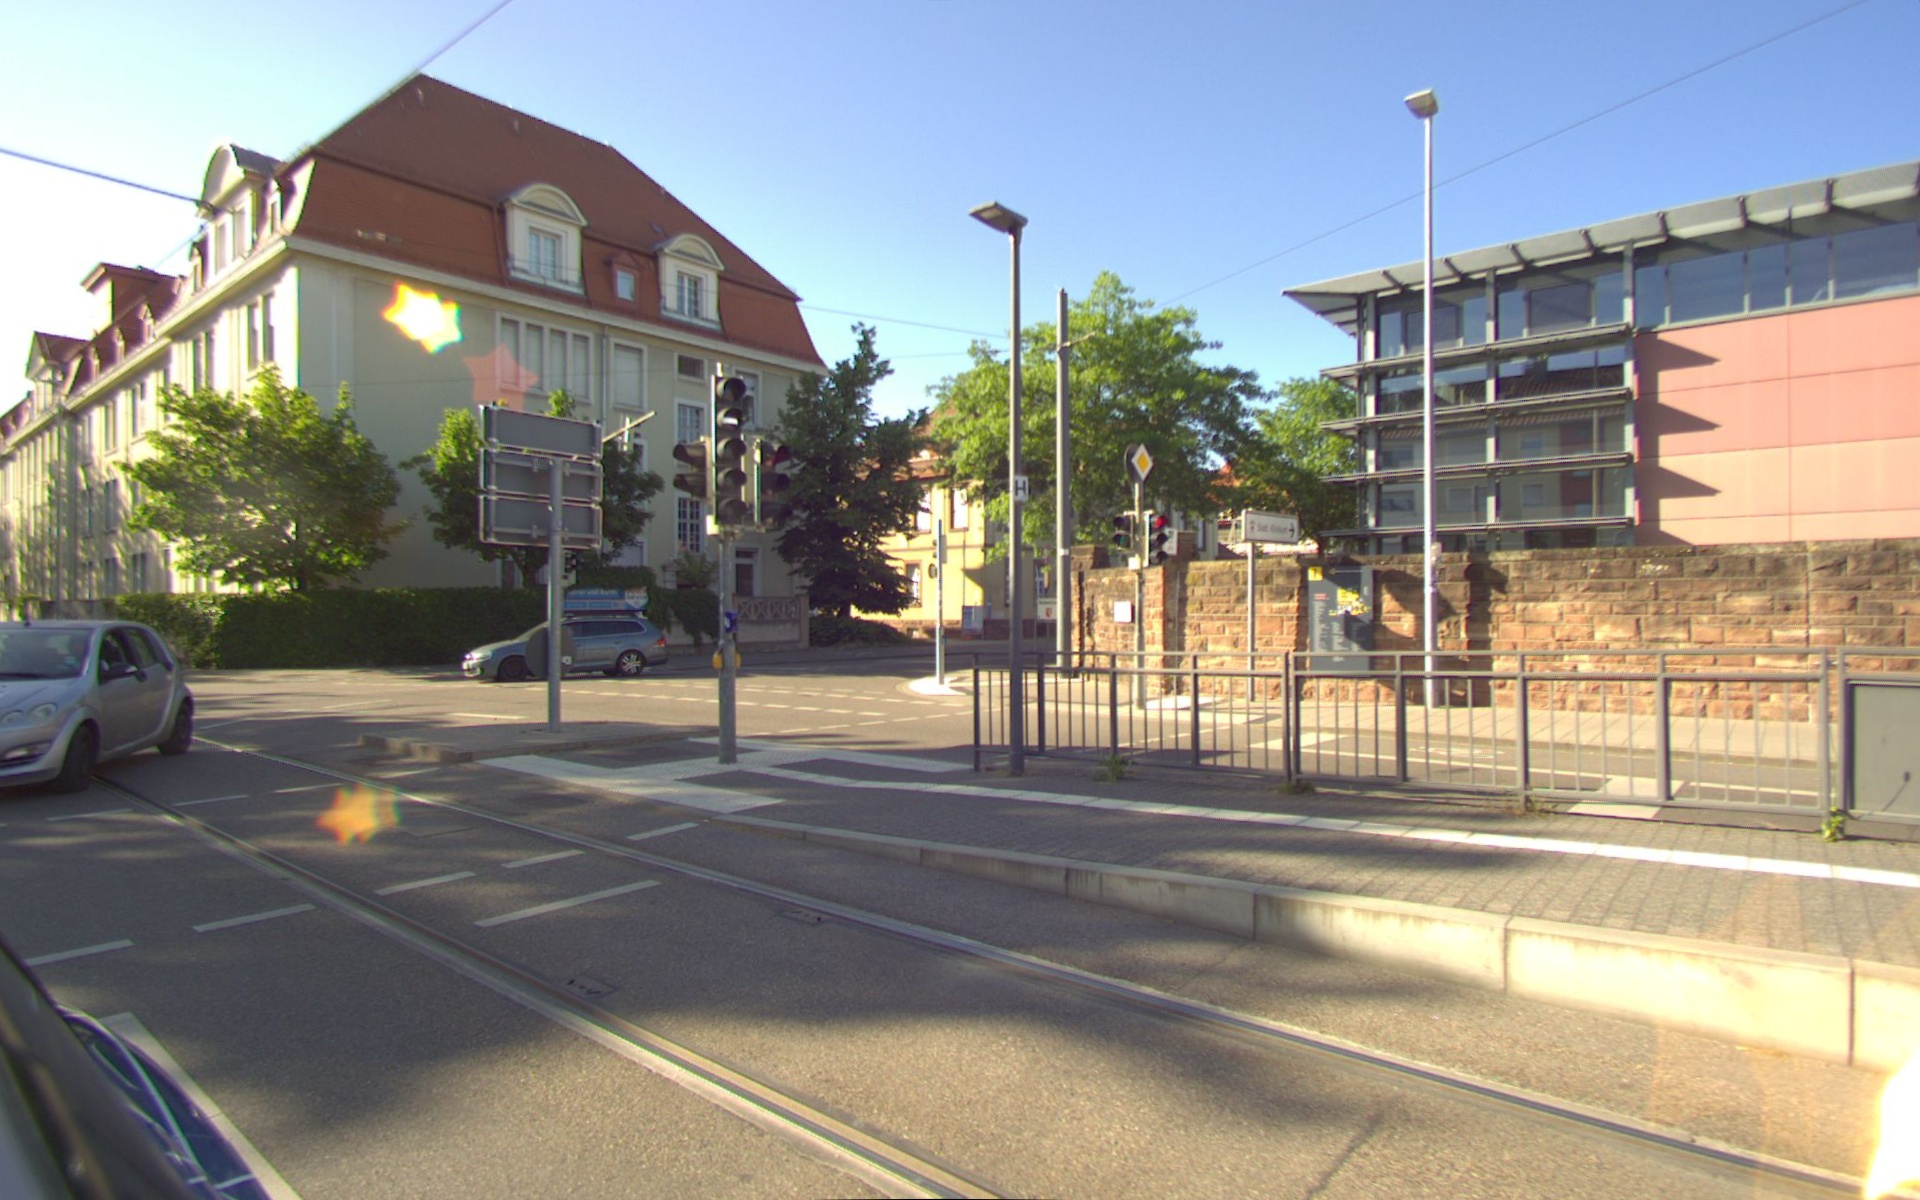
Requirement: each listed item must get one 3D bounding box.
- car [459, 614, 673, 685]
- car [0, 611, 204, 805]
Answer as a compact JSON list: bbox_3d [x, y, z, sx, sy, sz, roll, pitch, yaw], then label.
[{"bbox_3d":[-9.062,1.087,23.441,4.333,1.470,1.747,0,-1,-37],"label":"car"},{"bbox_3d":[-8.535,0.851,9.168,1.713,1.470,3.705,0,-1,-20],"label":"car"}]
